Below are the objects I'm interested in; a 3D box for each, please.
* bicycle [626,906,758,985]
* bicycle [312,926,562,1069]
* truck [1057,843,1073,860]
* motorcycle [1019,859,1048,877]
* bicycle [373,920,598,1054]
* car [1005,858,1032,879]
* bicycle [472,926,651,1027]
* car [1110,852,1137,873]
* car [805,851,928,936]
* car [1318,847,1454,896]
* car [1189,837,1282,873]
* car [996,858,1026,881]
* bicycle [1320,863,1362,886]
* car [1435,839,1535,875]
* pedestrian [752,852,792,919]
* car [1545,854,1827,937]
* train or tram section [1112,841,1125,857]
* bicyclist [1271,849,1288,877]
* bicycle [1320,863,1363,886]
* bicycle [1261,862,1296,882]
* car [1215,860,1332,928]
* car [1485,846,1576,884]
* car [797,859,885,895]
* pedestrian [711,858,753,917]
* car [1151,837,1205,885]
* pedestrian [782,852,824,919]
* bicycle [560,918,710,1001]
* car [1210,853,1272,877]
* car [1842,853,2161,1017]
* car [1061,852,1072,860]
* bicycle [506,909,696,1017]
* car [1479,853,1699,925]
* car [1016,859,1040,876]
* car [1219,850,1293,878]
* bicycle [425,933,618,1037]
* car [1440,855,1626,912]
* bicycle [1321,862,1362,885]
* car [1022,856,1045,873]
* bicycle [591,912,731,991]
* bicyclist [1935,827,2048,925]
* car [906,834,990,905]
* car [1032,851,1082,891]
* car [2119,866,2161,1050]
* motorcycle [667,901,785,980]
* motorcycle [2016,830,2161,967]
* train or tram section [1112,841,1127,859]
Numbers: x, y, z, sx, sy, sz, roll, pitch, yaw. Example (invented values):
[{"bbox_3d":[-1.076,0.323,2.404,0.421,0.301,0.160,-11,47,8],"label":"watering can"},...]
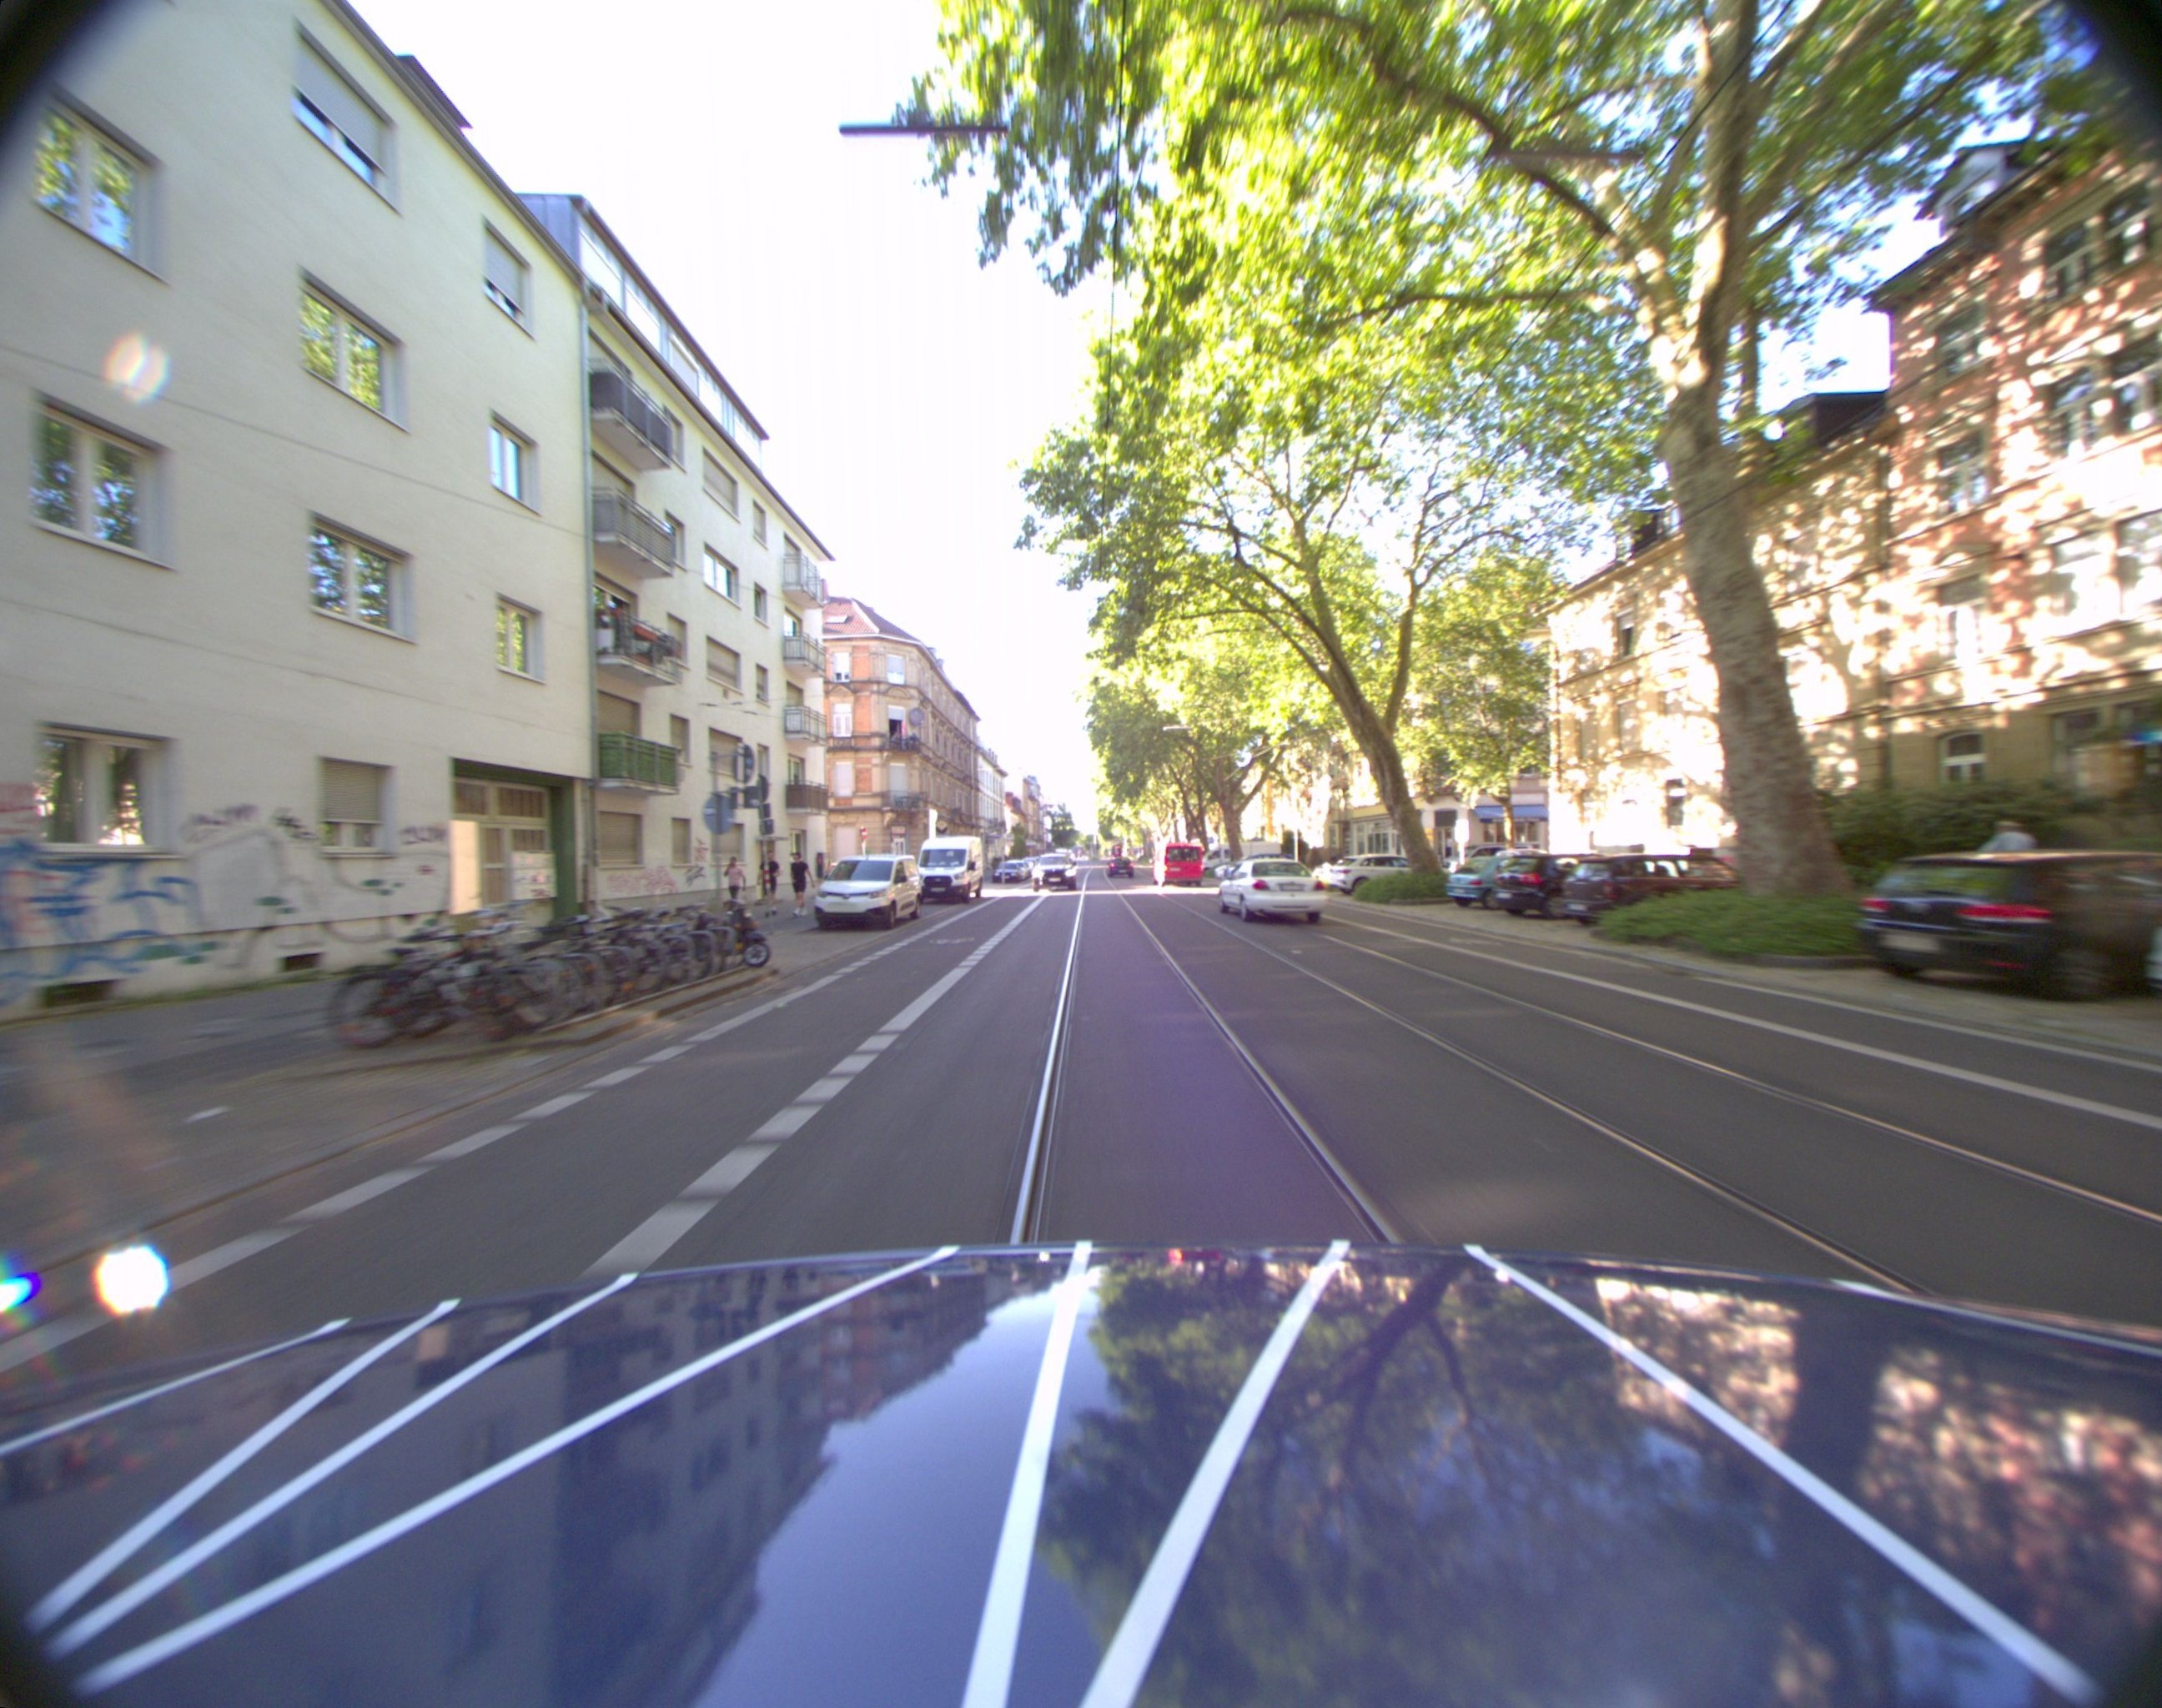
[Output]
[{"bbox_3d":[-5.593,1.304,10.955,1.657,1.049,0.457,1,1,1],"label":"bicycle"},{"bbox_3d":[-5.813,1.280,6.897,1.897,1.185,0.457,1,1,1],"label":"bicycle"},{"bbox_3d":[-3.253,-0.565,153.447,2.842,3.145,7.291,-3,1,0],"label":"truck"},{"bbox_3d":[-3.753,1.106,60.356,2.143,1.281,0.642,-1,1,-21],"label":"motorcycle"},{"bbox_3d":[-5.751,1.269,7.375,1.828,1.185,0.457,1,1,1],"label":"bicycle"},{"bbox_3d":[-4.592,1.026,56.573,1.606,1.412,4.013,1,1,1],"label":"car"},{"bbox_3d":[-5.692,1.334,8.361,1.657,1.015,0.457,1,1,1],"label":"bicycle"},{"bbox_3d":[3.027,0.588,55.282,1.722,1.501,3.722,-1,0,0],"label":"car"},{"bbox_3d":[-5.379,0.900,19.665,1.863,1.810,4.350,2,1,0],"label":"car"},{"bbox_3d":[10.658,0.594,26.750,3.997,1.452,1.879,-3,0,0],"label":"car"},{"bbox_3d":[11.748,0.056,57.956,6.618,2.393,2.000,-3,0,1],"label":"car"},{"bbox_3d":[-4.681,1.024,51.229,1.653,1.412,4.059,1,1,-1],"label":"car"},{"bbox_3d":[12.445,0.964,36.393,1.858,1.082,0.397,-1,1,19],"label":"bicycle"},{"bbox_3d":[22.970,0.165,43.369,4.581,1.870,2.129,-1,3,6],"label":"car"},{"bbox_3d":[-8.652,0.852,21.300,0.626,1.812,1.082,0,1,3],"label":"pedestrian"},{"bbox_3d":[11.466,0.758,14.616,3.996,1.452,1.704,-1,0,3],"label":"car"},{"bbox_3d":[9.129,-1.286,187.544,2.944,3.598,12.410,-3,1,2],"label":"train or tram section"},{"bbox_3d":[10.861,0.505,41.607,0.867,1.517,0.737,-1,1,13],"label":"bicyclist"},{"bbox_3d":[12.194,0.957,35.596,1.858,1.082,0.397,-1,1,19],"label":"bicycle"},{"bbox_3d":[10.814,0.979,41.631,1.873,1.025,0.629,-1,0,13],"label":"bicycle"},{"bbox_3d":[4.424,0.857,18.149,1.722,1.351,4.470,-1,0,1],"label":"car"},{"bbox_3d":[18.561,0.427,31.541,1.603,1.452,3.488,-1,0,-2],"label":"car"},{"bbox_3d":[-11.816,1.141,37.529,3.658,1.565,1.790,-2,1,3],"label":"car"},{"bbox_3d":[-9.908,0.932,21.603,0.633,1.571,0.933,5,2,3],"label":"pedestrian"},{"bbox_3d":[4.705,0.327,37.460,1.922,2.214,4.959,0,0,-1],"label":"car"},{"bbox_3d":[-7.708,0.859,21.120,0.711,1.812,1.082,0,1,3],"label":"pedestrian"},{"bbox_3d":[-5.710,1.347,9.770,1.657,0.981,0.457,1,1,1],"label":"bicycle"},{"bbox_3d":[10.788,0.709,51.329,3.779,1.509,1.747,-1,0,-2],"label":"car"},{"bbox_3d":[10.863,0.767,8.055,3.802,1.452,1.704,-2,0,2],"label":"car"},{"bbox_3d":[-2.647,0.334,137.867,1.702,1.324,3.686,0,0,2],"label":"car"},{"bbox_3d":[-5.637,1.262,8.996,1.798,1.141,0.704,1,1,1],"label":"bicycle"},{"bbox_3d":[11.496,0.740,17.319,4.000,1.452,1.769,-1,0,-8],"label":"car"},{"bbox_3d":[-4.371,1.083,63.334,1.653,1.265,3.724,1,1,0],"label":"car"},{"bbox_3d":[11.190,0.614,48.750,4.331,1.702,1.816,-1,1,-2],"label":"car"},{"bbox_3d":[-5.748,1.339,7.844,1.657,0.960,0.457,1,1,1],"label":"bicycle"},{"bbox_3d":[11.791,0.731,19.929,3.998,1.361,1.604,-1,0,-5],"label":"car"},{"bbox_3d":[12.597,0.959,36.811,1.858,1.082,0.397,-1,1,19],"label":"bicycle"},{"bbox_3d":[-4.256,0.912,68.172,1.610,1.444,3.741,1,1,2],"label":"car"},{"bbox_3d":[-5.714,1.320,10.383,1.657,0.981,0.457,1,1,1],"label":"bicycle"},{"bbox_3d":[16.873,0.393,14.114,0.832,1.752,1.048,-1,1,1],"label":"bicyclist"},{"bbox_3d":[-5.104,0.515,30.127,2.154,2.481,6.088,-1,1,0],"label":"car"},{"bbox_3d":[-1.076,0.796,35.964,1.948,1.694,4.631,-2,-1,3],"label":"car"},{"bbox_3d":[10.765,0.820,5.470,3.996,1.487,1.830,-1,0,1],"label":"car"},{"bbox_3d":[-5.542,1.315,11.848,1.820,1.074,0.618,0,1,24],"label":"motorcycle"},{"bbox_3d":[13.530,0.535,9.064,1.054,1.622,3.011,-3,1,1],"label":"motorcycle"},{"bbox_3d":[8.269,-0.954,164.574,2.944,3.598,11.062,-3,1,2],"label":"train or tram section"}]
